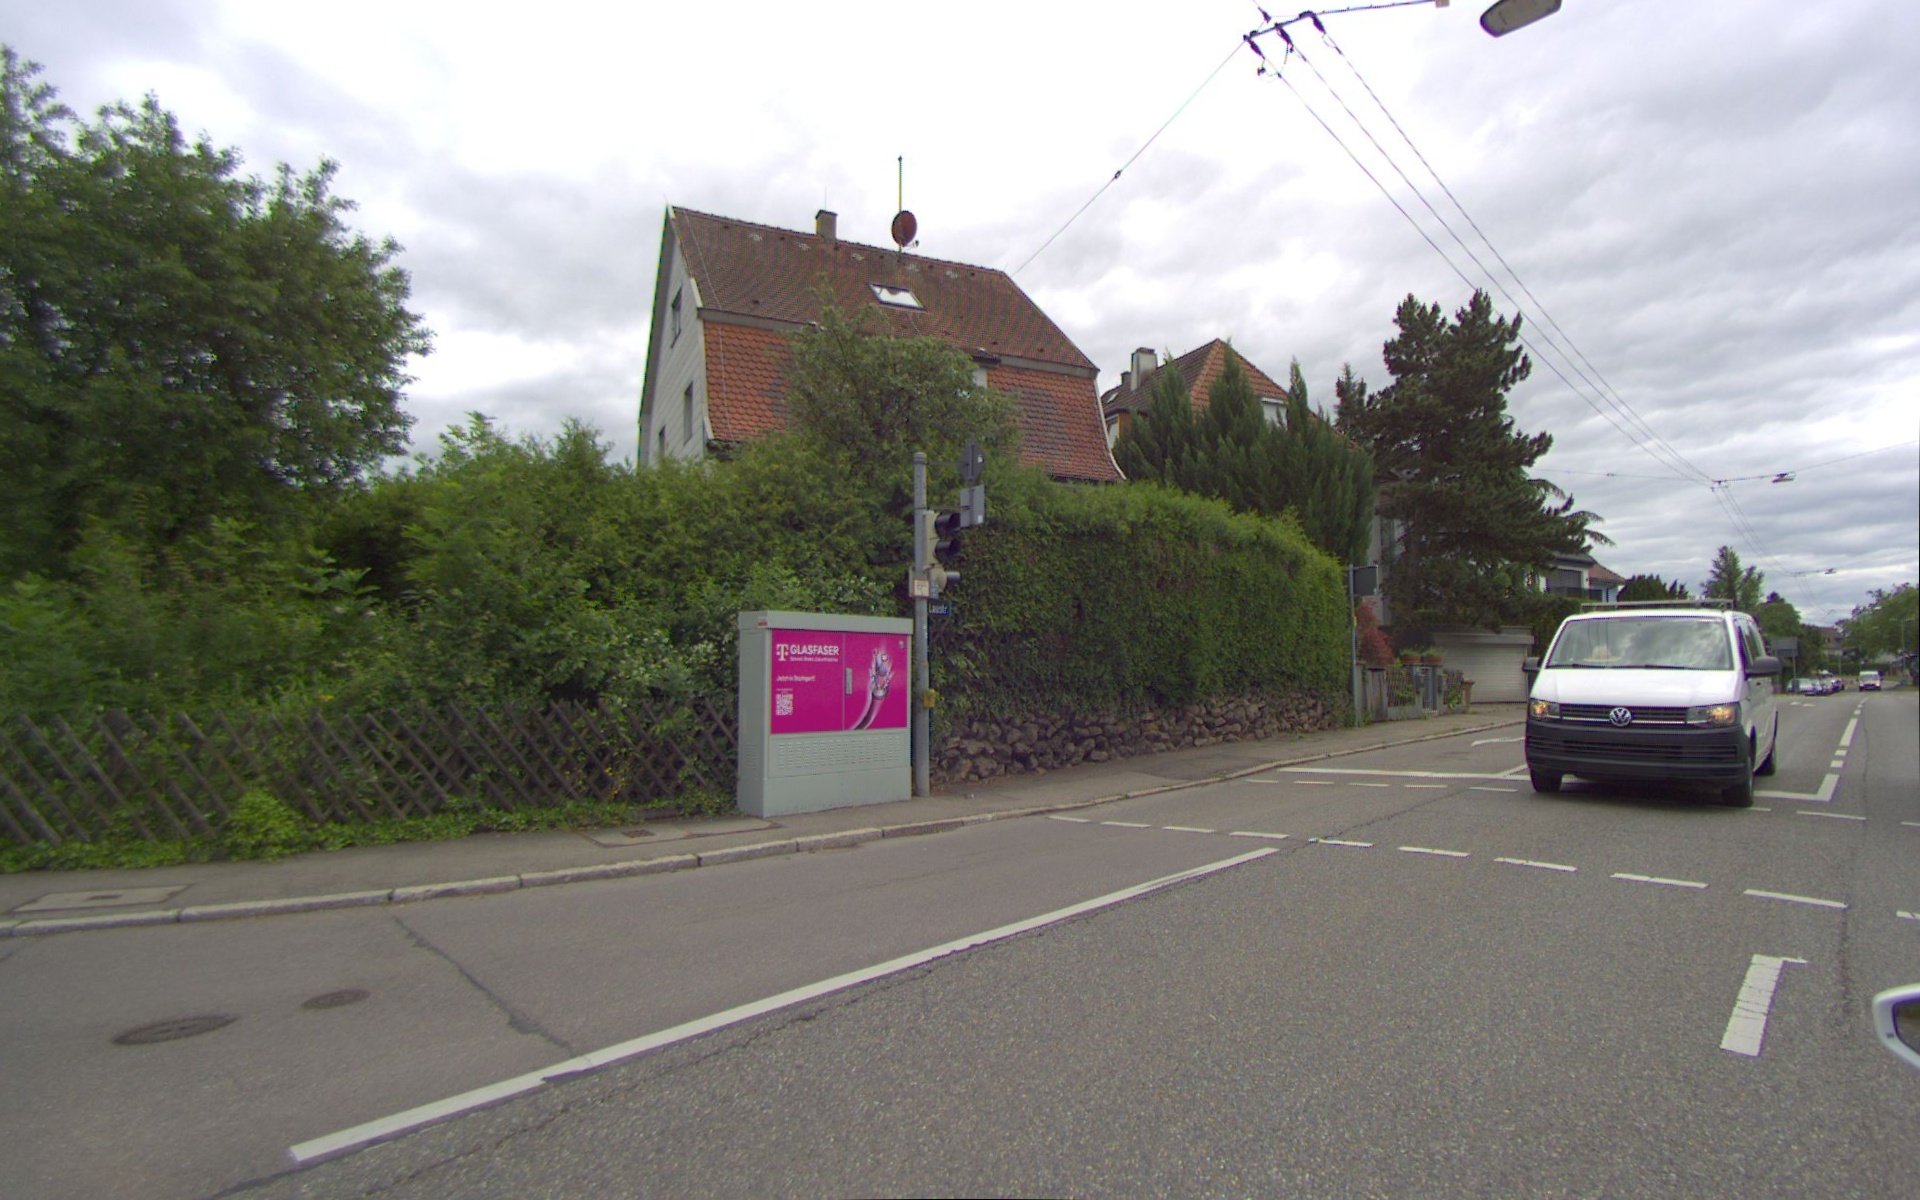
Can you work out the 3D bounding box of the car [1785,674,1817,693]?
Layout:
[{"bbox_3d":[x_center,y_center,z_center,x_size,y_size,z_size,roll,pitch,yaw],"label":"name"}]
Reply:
[{"bbox_3d":[70.161,6.942,83.798,1.790,1.473,4.391,-7,-8,41],"label":"car"}]

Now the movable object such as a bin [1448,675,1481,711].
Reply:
[{"bbox_3d":[13.754,2.537,27.392,0.636,0.954,0.463,1,-3,-18],"label":"movable object such as a bin"}]

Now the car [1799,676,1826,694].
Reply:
[{"bbox_3d":[80.228,8.033,94.486,1.661,1.575,3.950,-6,-8,42],"label":"car"}]

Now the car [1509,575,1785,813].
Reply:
[{"bbox_3d":[7.923,0.972,11.338,1.838,2.074,5.144,-4,-5,42],"label":"car"}]

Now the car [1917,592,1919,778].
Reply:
[{"bbox_3d":[10.044,0.856,8.989,1.984,2.064,4.983,-1,-3,42],"label":"car"}]
